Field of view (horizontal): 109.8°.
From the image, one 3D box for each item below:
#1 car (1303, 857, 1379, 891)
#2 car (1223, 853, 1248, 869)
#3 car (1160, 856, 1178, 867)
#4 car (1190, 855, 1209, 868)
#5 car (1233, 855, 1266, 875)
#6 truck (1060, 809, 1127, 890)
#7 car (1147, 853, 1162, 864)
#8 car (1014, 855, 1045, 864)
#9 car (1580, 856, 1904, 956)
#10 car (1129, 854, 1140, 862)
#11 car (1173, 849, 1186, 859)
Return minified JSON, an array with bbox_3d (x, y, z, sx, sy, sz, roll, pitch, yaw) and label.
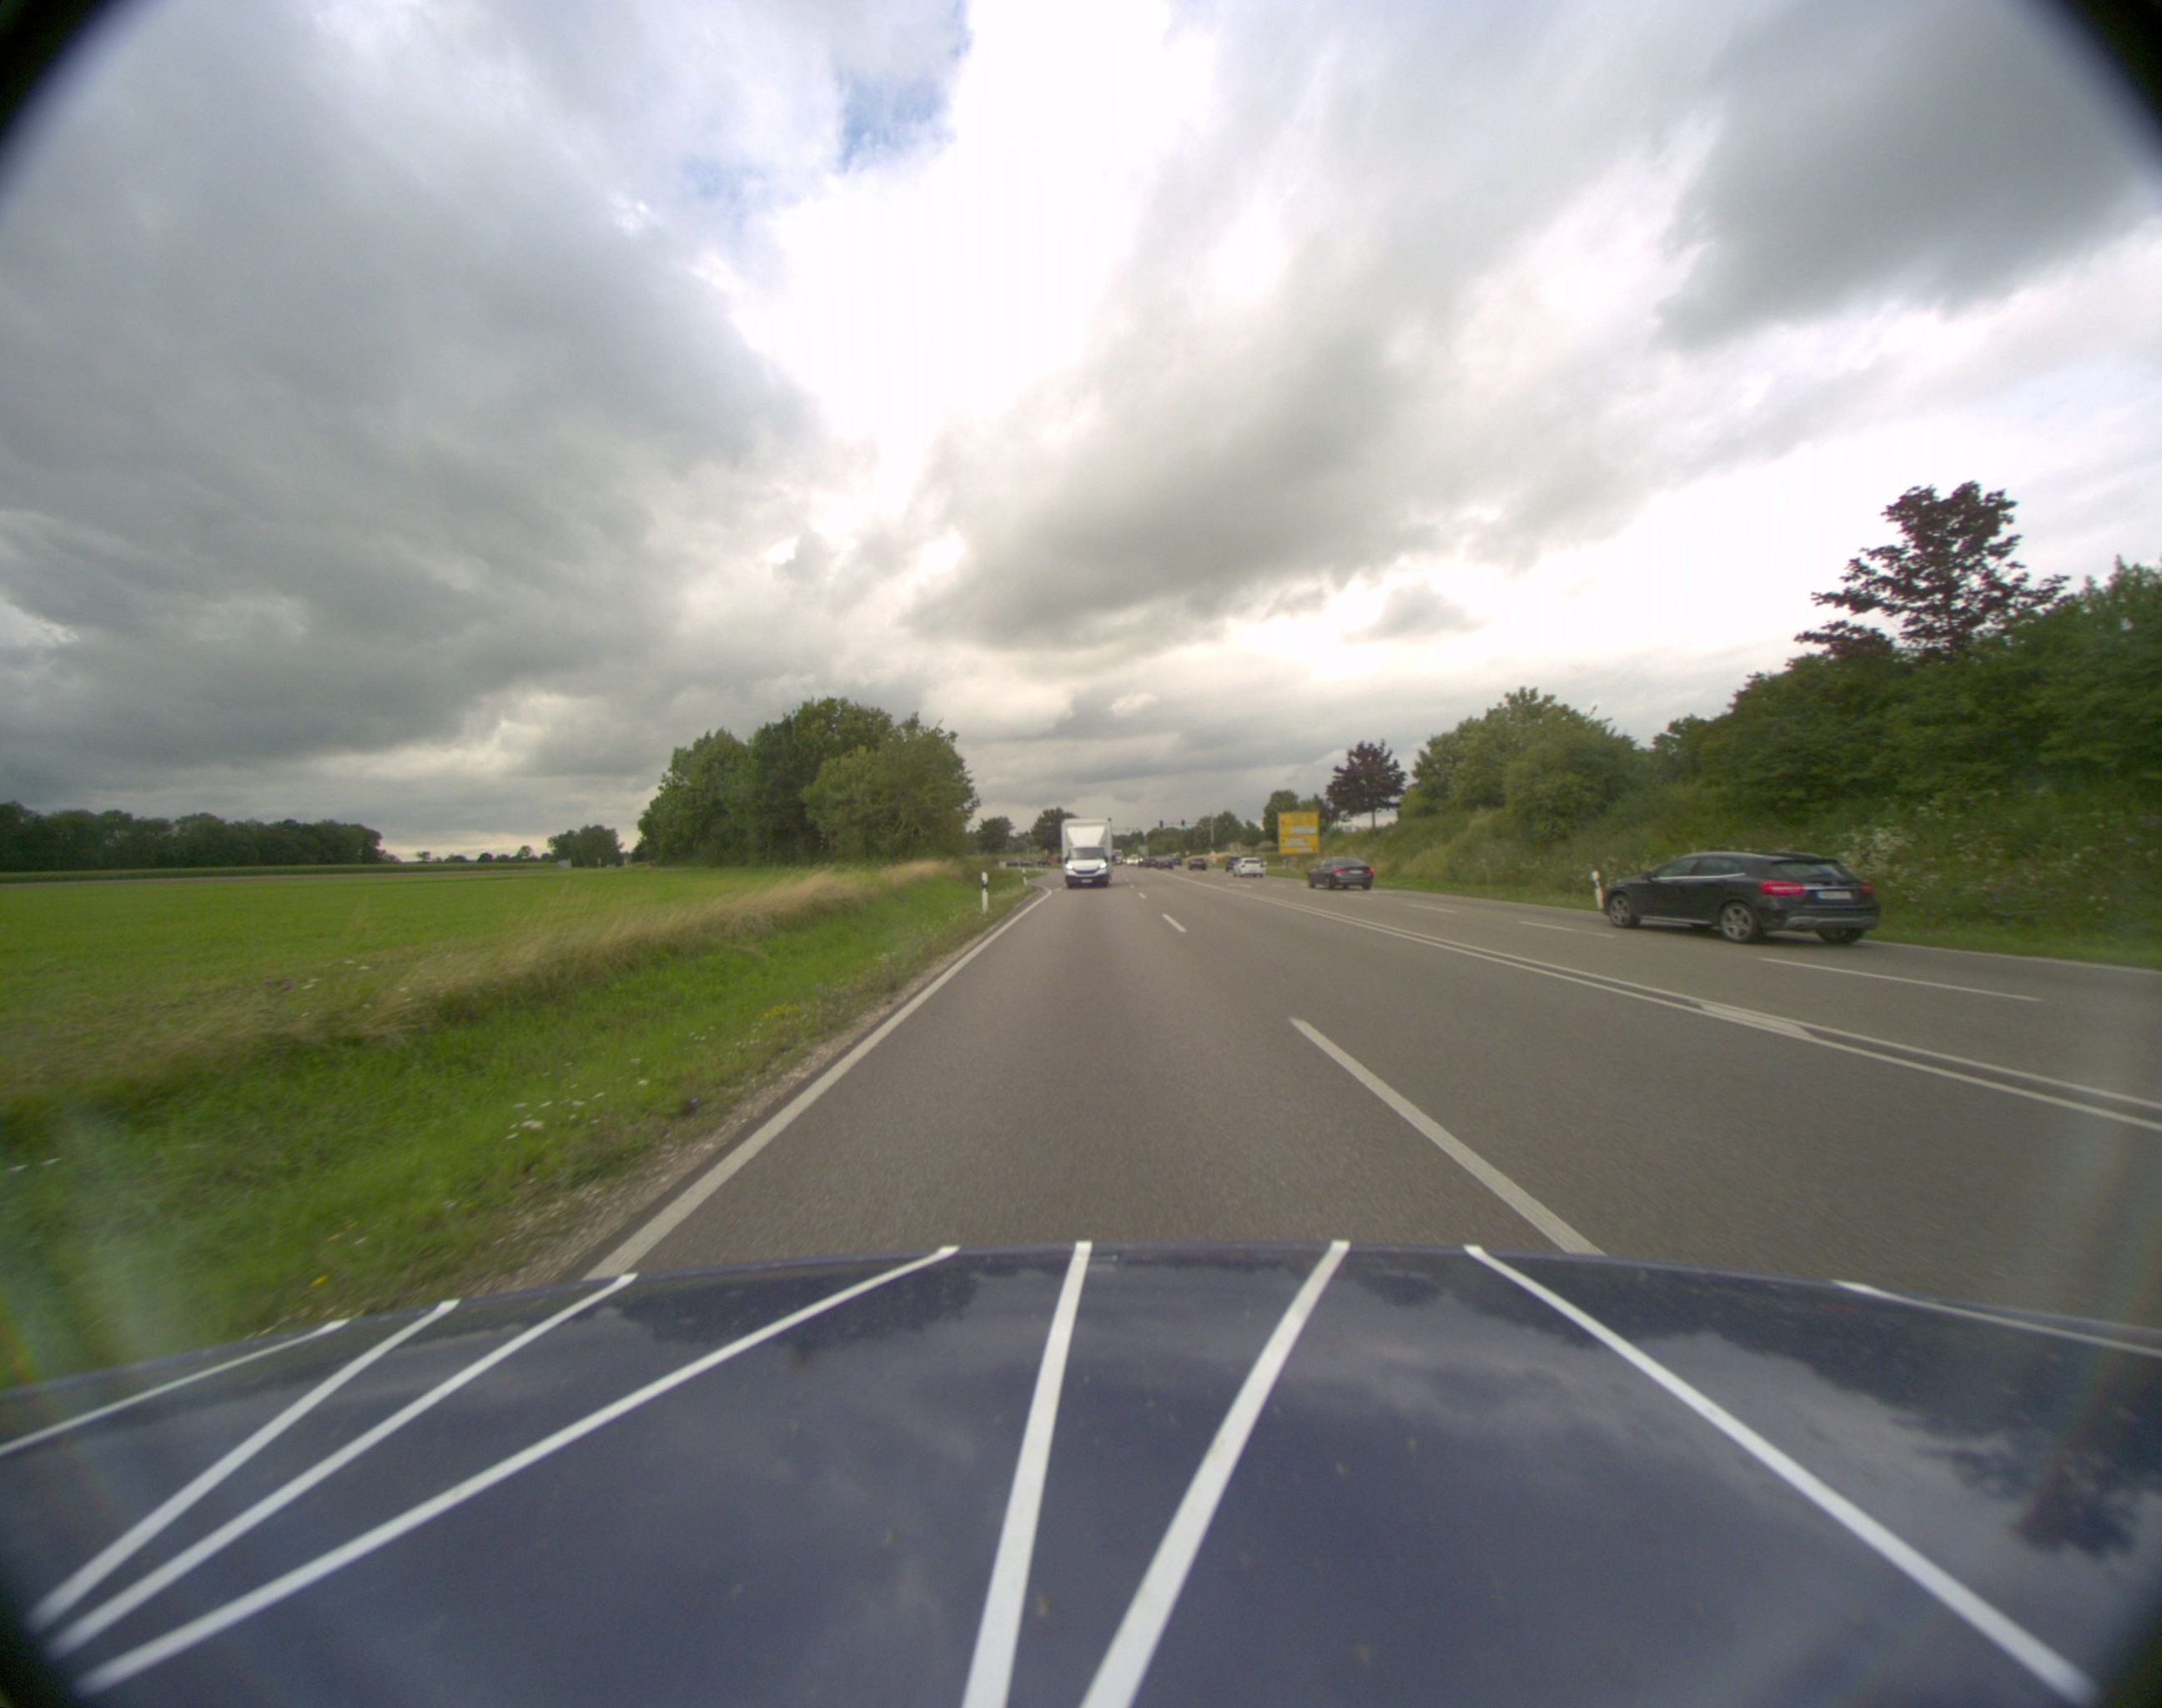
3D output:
[{"bbox_3d":[11.520,0.844,34.033,1.798,1.397,4.705,1,0,0],"label":"car"},{"bbox_3d":[15.936,0.675,78.403,1.860,1.586,4.399,0,0,3],"label":"car"},{"bbox_3d":[10.859,0.907,94.100,1.860,1.399,4.186,0,0,3],"label":"car"},{"bbox_3d":[13.731,0.869,88.223,1.727,1.472,4.660,0,0,3],"label":"car"},{"bbox_3d":[12.713,0.792,57.446,1.612,1.406,4.056,-1,0,0],"label":"car"},{"bbox_3d":[0.491,-0.198,39.584,2.935,3.652,8.441,-2,0,-1],"label":"truck"},{"bbox_3d":[10.173,0.644,105.765,1.860,1.440,4.001,0,0,3],"label":"car"},{"bbox_3d":[-7.619,0.849,113.302,4.344,1.214,1.866,-1,0,5],"label":"car"},{"bbox_3d":[11.496,0.782,13.783,1.798,1.502,4.705,0,0,0],"label":"car"},{"bbox_3d":[9.407,0.653,133.031,1.860,1.274,4.001,0,0,3],"label":"car"},{"bbox_3d":[17.223,0.046,132.812,1.855,1.706,4.129,-2,0,1],"label":"car"}]
